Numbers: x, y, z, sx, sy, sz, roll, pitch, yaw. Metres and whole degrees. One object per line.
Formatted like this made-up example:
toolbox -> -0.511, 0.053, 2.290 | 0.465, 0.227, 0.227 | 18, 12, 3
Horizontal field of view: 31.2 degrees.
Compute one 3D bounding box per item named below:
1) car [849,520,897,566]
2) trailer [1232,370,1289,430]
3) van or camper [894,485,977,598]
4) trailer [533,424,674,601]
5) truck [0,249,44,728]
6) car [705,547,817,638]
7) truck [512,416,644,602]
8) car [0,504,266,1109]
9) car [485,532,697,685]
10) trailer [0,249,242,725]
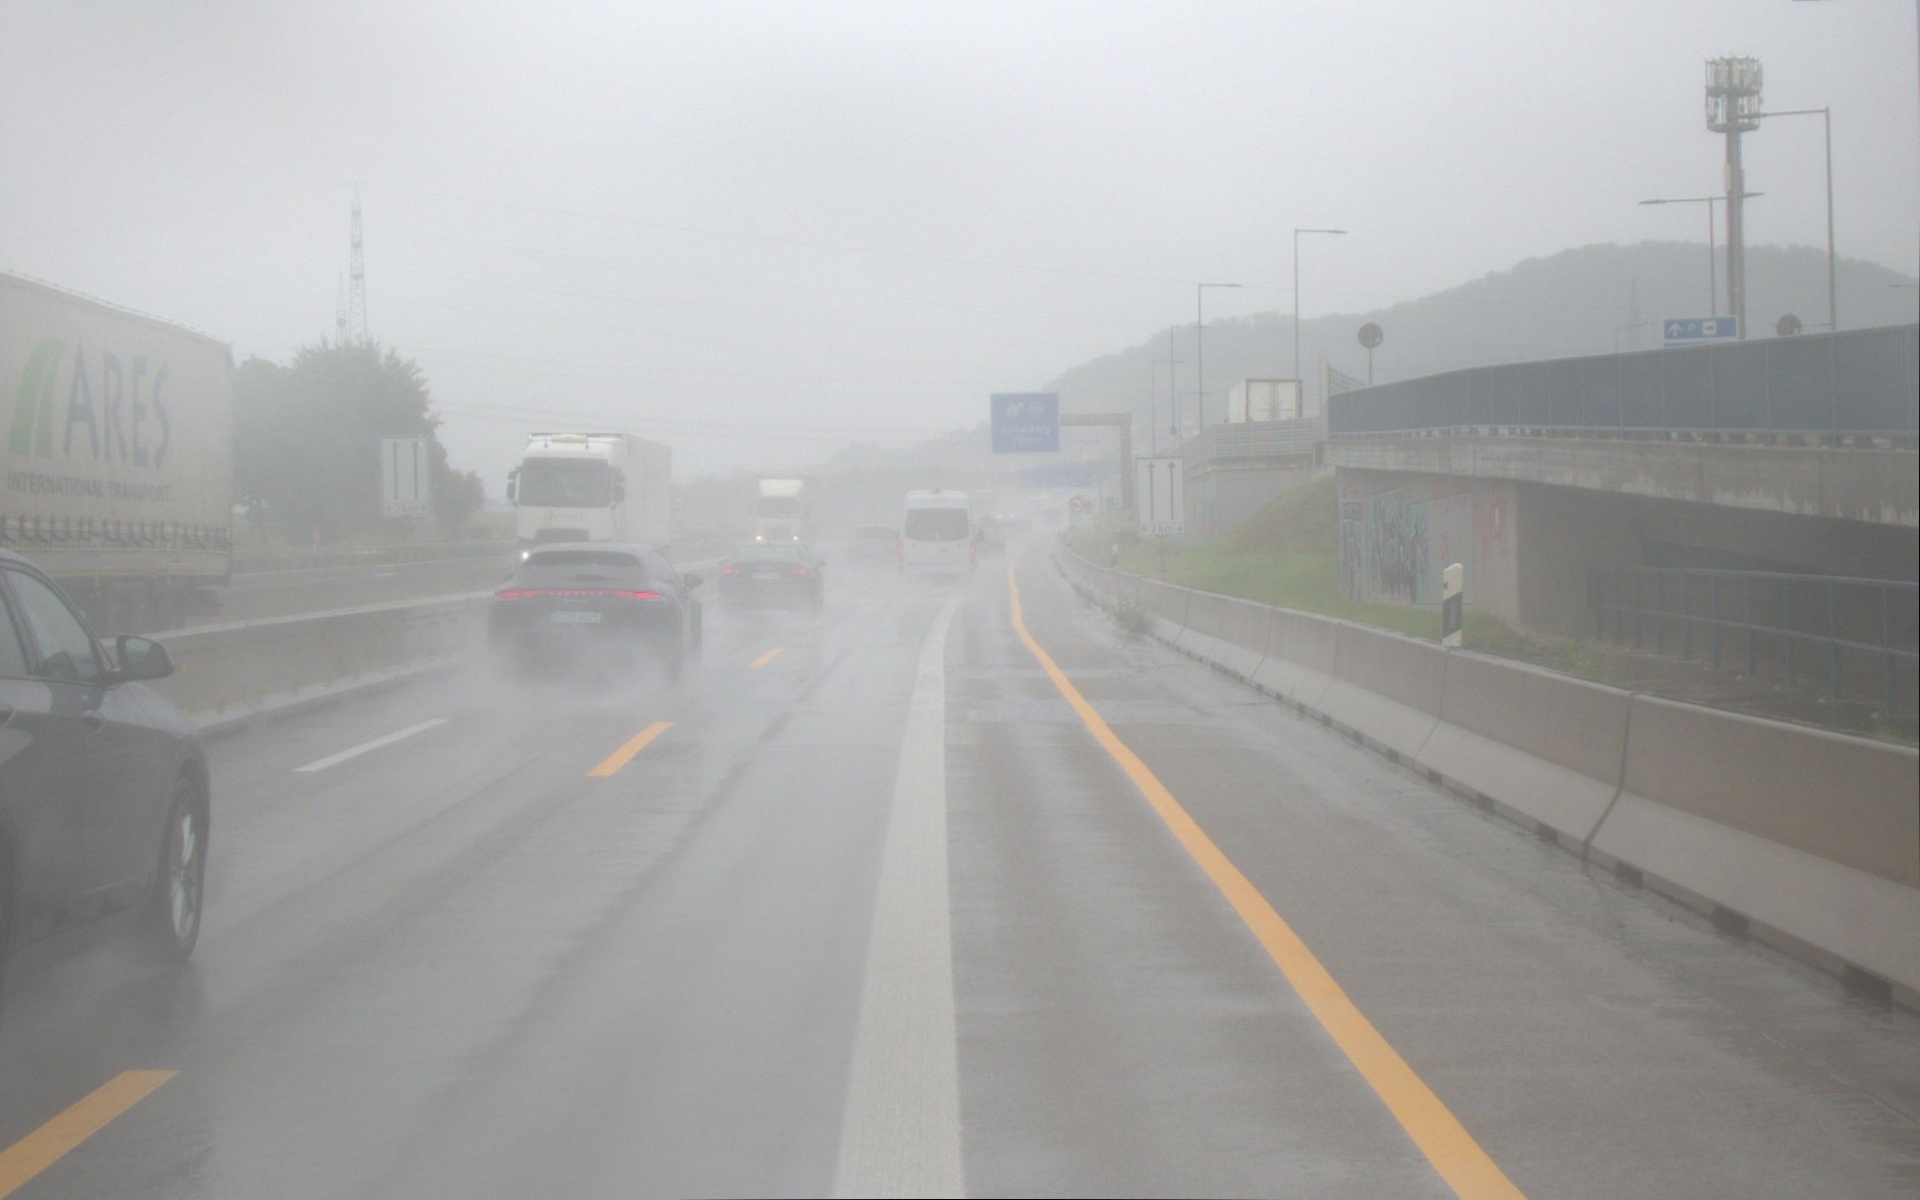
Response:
car -> -2.952, -1.939, 117.055 | 1.566, 1.475, 2.822 | -2, 0, -1
trailer -> 14.322, -9.488, 164.381 | 1.993, 2.099, 13.767 | 1, 0, 2
van or camper -> -0.650, -1.451, 87.110 | 1.996, 2.768, 4.050 | 1, 0, -1
trailer -> -9.766, -2.310, 95.399 | 2.547, 4.573, 12.010 | 1, 0, 0
truck -> -10.142, -1.034, 29.938 | 2.502, 4.447, 6.881 | 1, 0, -1
car -> -3.576, -0.161, 62.415 | 1.844, 1.486, 4.262 | -2, 2, -1
truck -> -9.801, -2.287, 88.680 | 2.560, 4.587, 6.452 | 1, 0, 1
car -> -3.410, 0.539, 10.514 | 1.701, 1.592, 4.845 | 0, 0, -1
car -> -3.805, 0.072, 36.046 | 1.844, 1.486, 4.262 | 1, 0, -1
trailer -> -10.221, -1.093, 37.492 | 2.484, 4.428, 11.196 | 1, 0, -1
